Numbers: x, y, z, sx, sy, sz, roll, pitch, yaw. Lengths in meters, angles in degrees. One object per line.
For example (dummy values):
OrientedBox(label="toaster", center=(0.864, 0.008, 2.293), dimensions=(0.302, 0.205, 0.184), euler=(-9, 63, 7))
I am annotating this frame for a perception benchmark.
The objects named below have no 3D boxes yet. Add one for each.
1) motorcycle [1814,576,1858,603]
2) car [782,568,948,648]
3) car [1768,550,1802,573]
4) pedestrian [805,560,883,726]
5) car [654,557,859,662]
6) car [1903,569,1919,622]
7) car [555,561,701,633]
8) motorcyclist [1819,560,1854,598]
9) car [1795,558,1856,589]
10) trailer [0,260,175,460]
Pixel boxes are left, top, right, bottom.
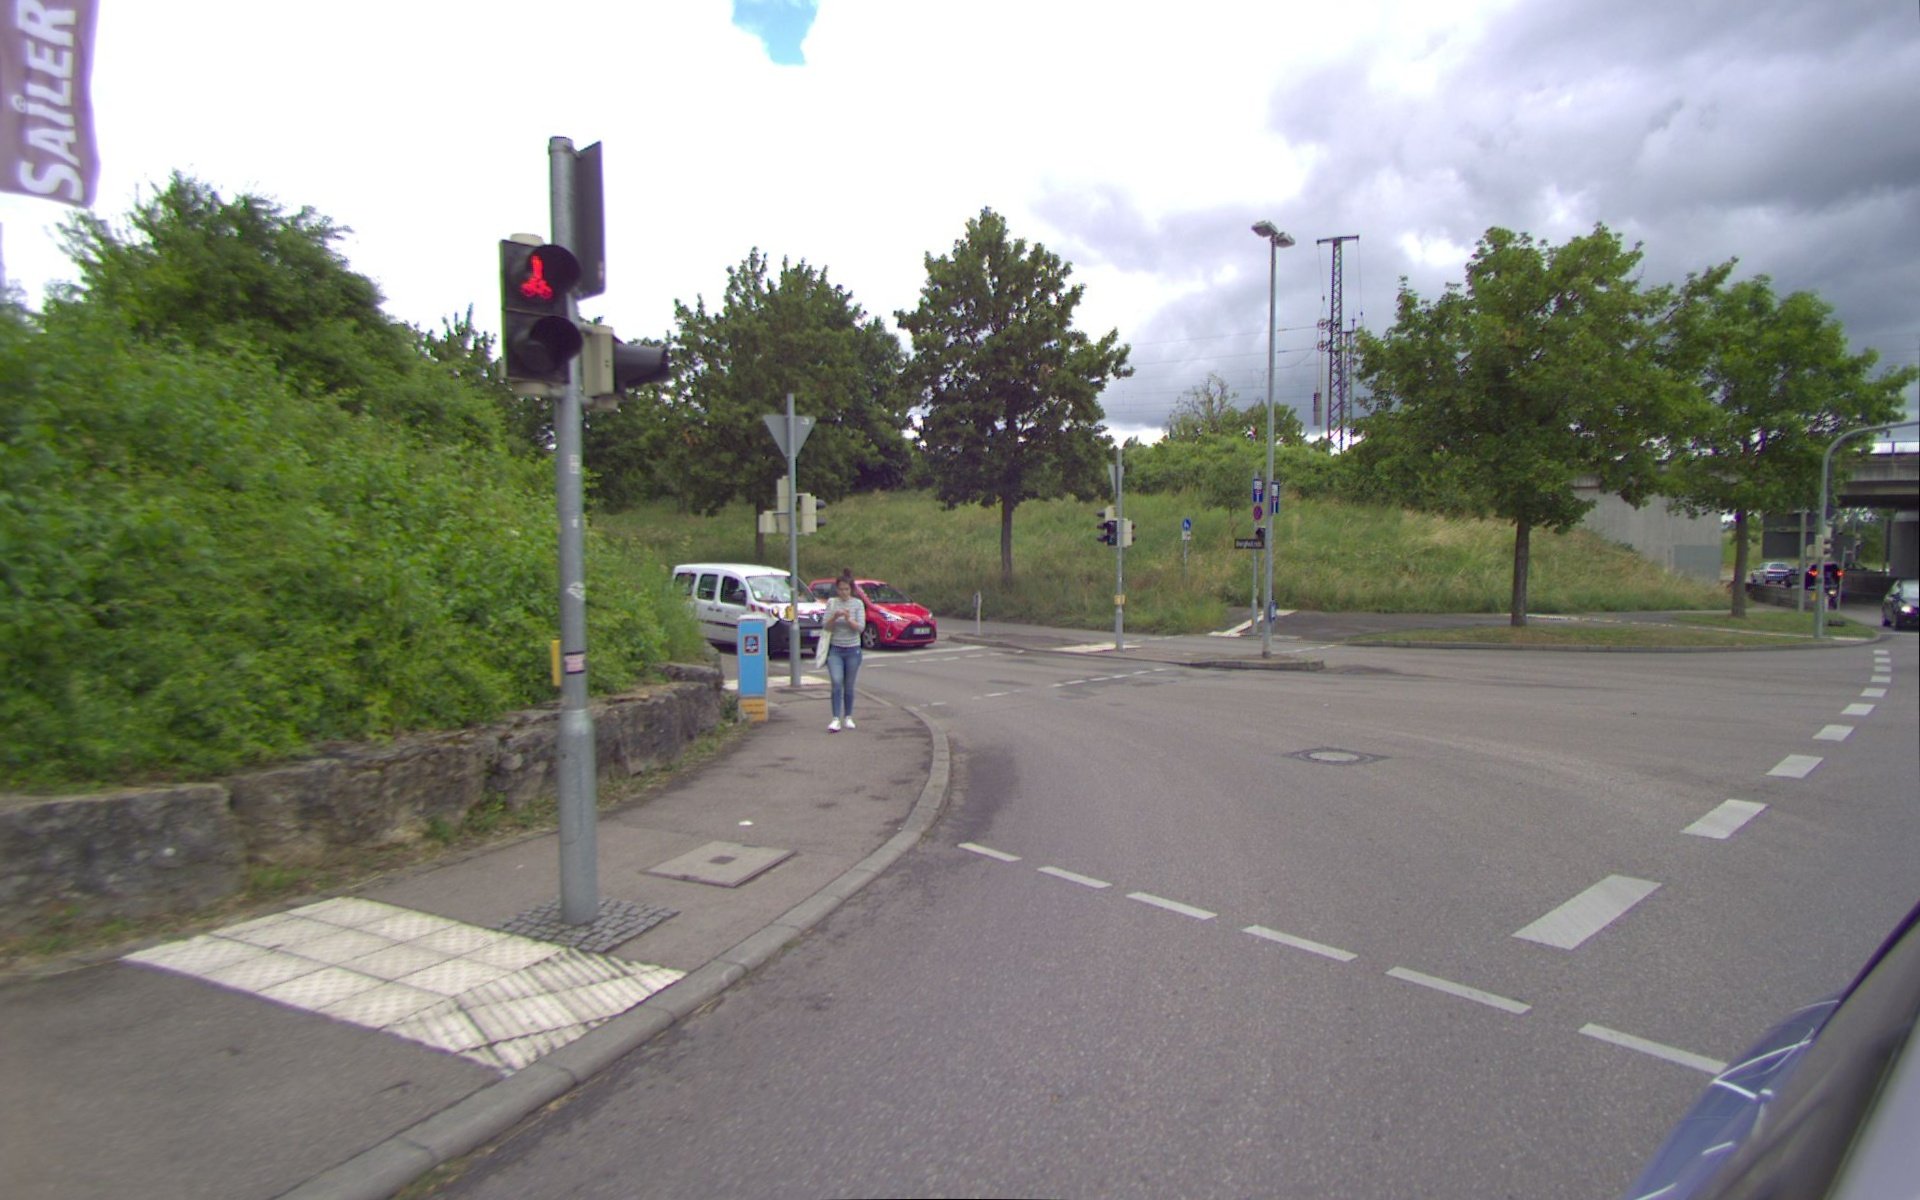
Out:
OrientedBox(label="motorcycle", center=(38.763, -0.481, 44.809), dimensions=(0.874, 1.118, 2.340), euler=(0, 2, 26))
OrientedBox(label="car", center=(-2.244, 0.114, 23.335), dimensions=(3.822, 1.514, 1.733), euler=(5, 5, 43))
OrientedBox(label="car", center=(57.481, -2.666, 70.536), dimensions=(1.751, 1.532, 3.834), euler=(0, 2, 39))
OrientedBox(label="pedestrian", center=(-1.192, 0.411, 10.351), dimensions=(0.568, 1.628, 0.625), euler=(-2, 1, -27))
OrientedBox(label="car", center=(-4.405, 0.088, 21.425), dimensions=(4.709, 1.821, 1.922), euler=(5, 5, 44))
OrientedBox(label="car", center=(30.946, -0.176, 31.833), dimensions=(1.755, 1.560, 3.936), euler=(0, 2, 45))
OrientedBox(label="car", center=(-8.424, -0.138, 25.528), dimensions=(3.822, 1.472, 1.936), euler=(6, 6, 43))
OrientedBox(label="motorcyclist", center=(38.744, -0.926, 44.751), dimensions=(0.874, 1.625, 1.233), euler=(0, 1, 26))
OrientedBox(label="car", center=(53.074, -1.663, 62.143), dimensions=(1.947, 1.813, 3.964), euler=(-1, 2, 27))
OrientedBox(label="trailer", center=(-18.069, -4.410, 17.957), dimensions=(2.432, 3.093, 6.472), euler=(-1, 2, 12))
